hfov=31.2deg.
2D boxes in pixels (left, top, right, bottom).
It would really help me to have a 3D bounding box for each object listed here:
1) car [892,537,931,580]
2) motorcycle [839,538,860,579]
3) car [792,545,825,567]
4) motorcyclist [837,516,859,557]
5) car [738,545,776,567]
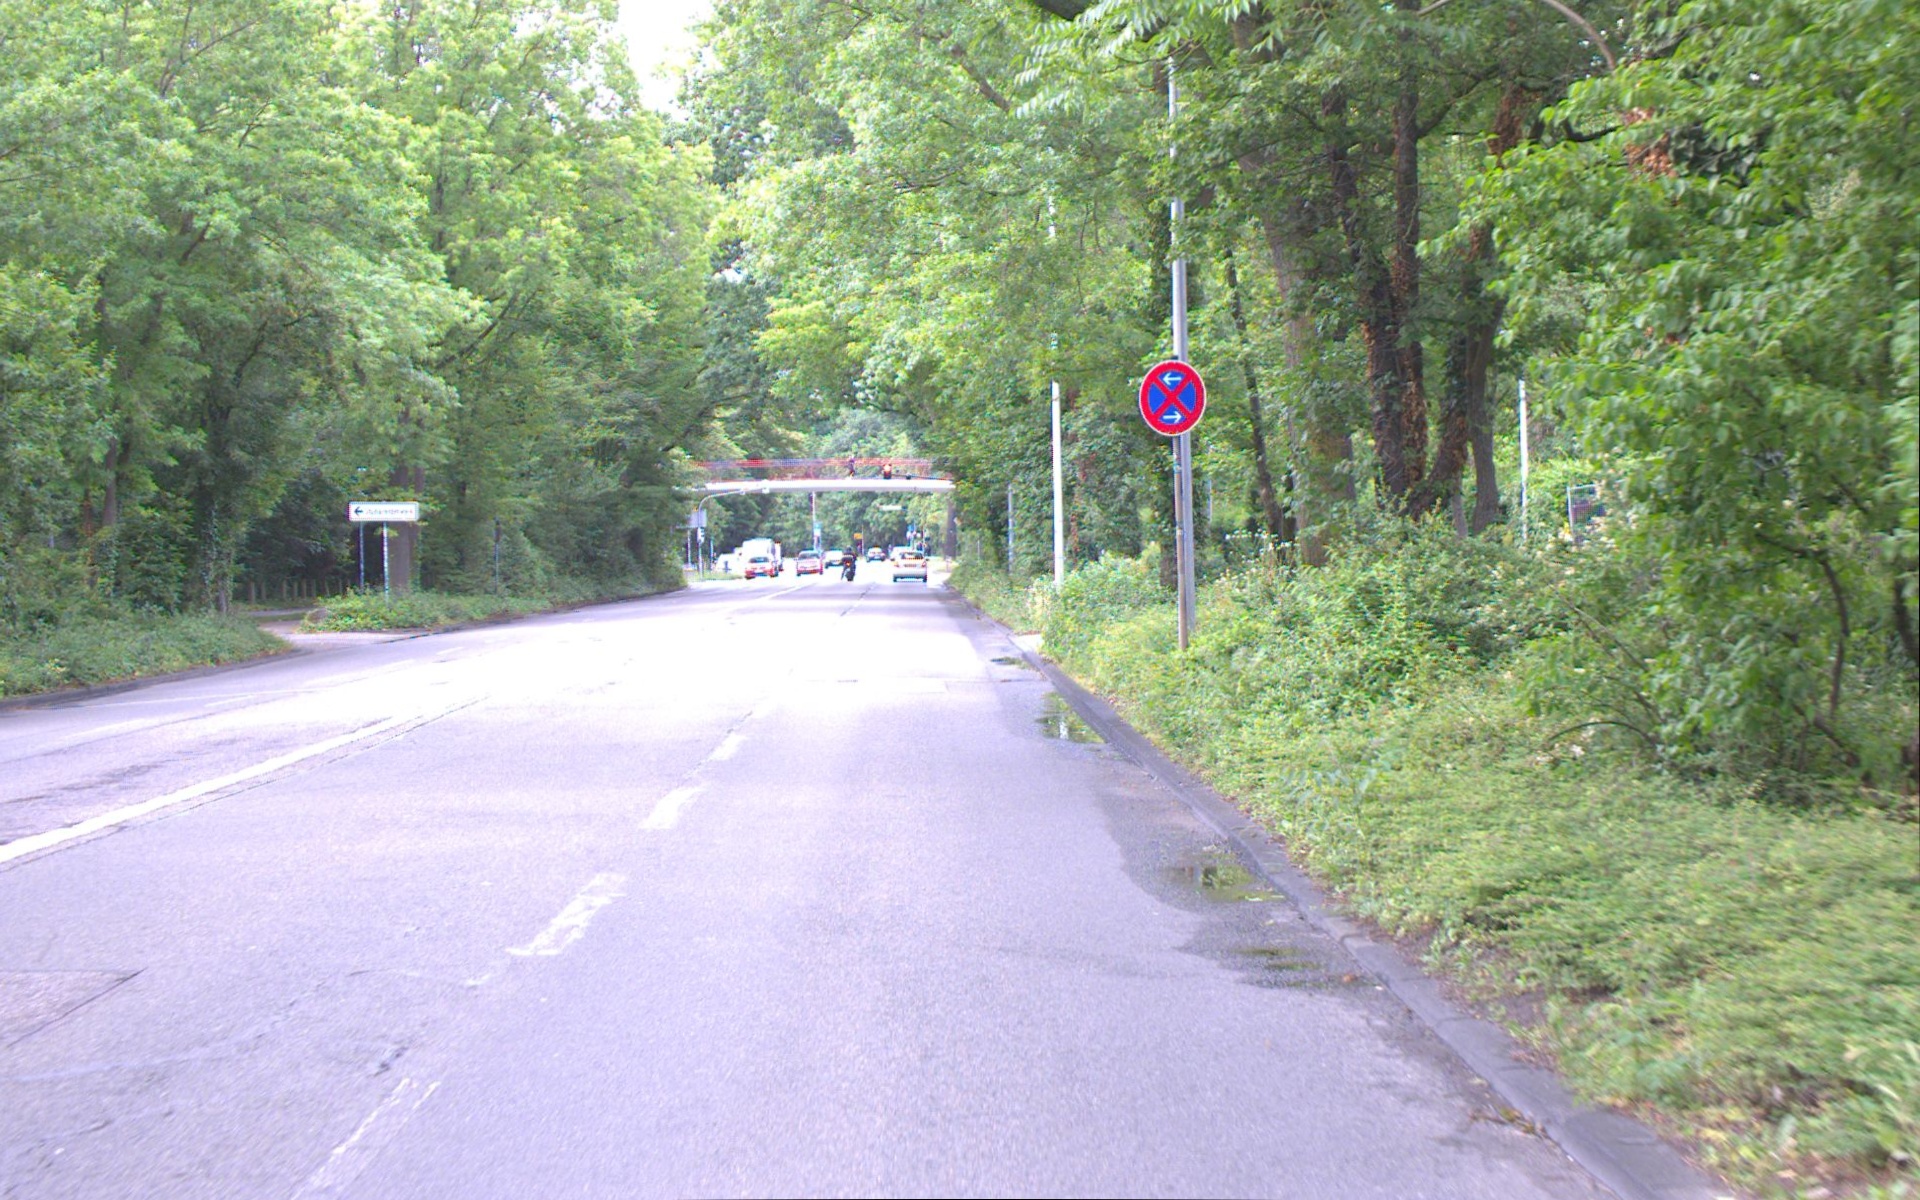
[{"bbox_3d":[-2.317,-1.986,163.513,1.843,2.007,4.000,0,1,-1],"label":"car"},{"bbox_3d":[-5.376,-2.026,167.177,0.990,1.929,2.669,0,1,-1],"label":"motorcycle"},{"bbox_3d":[-9.274,-2.699,210.571,1.675,1.357,3.921,0,1,2],"label":"car"},{"bbox_3d":[-5.458,-3.092,167.107,1.063,2.007,0.843,0,1,-1],"label":"motorcyclist"},{"bbox_3d":[-12.415,-2.704,210.250,1.993,1.349,3.894,0,1,2],"label":"car"}]
